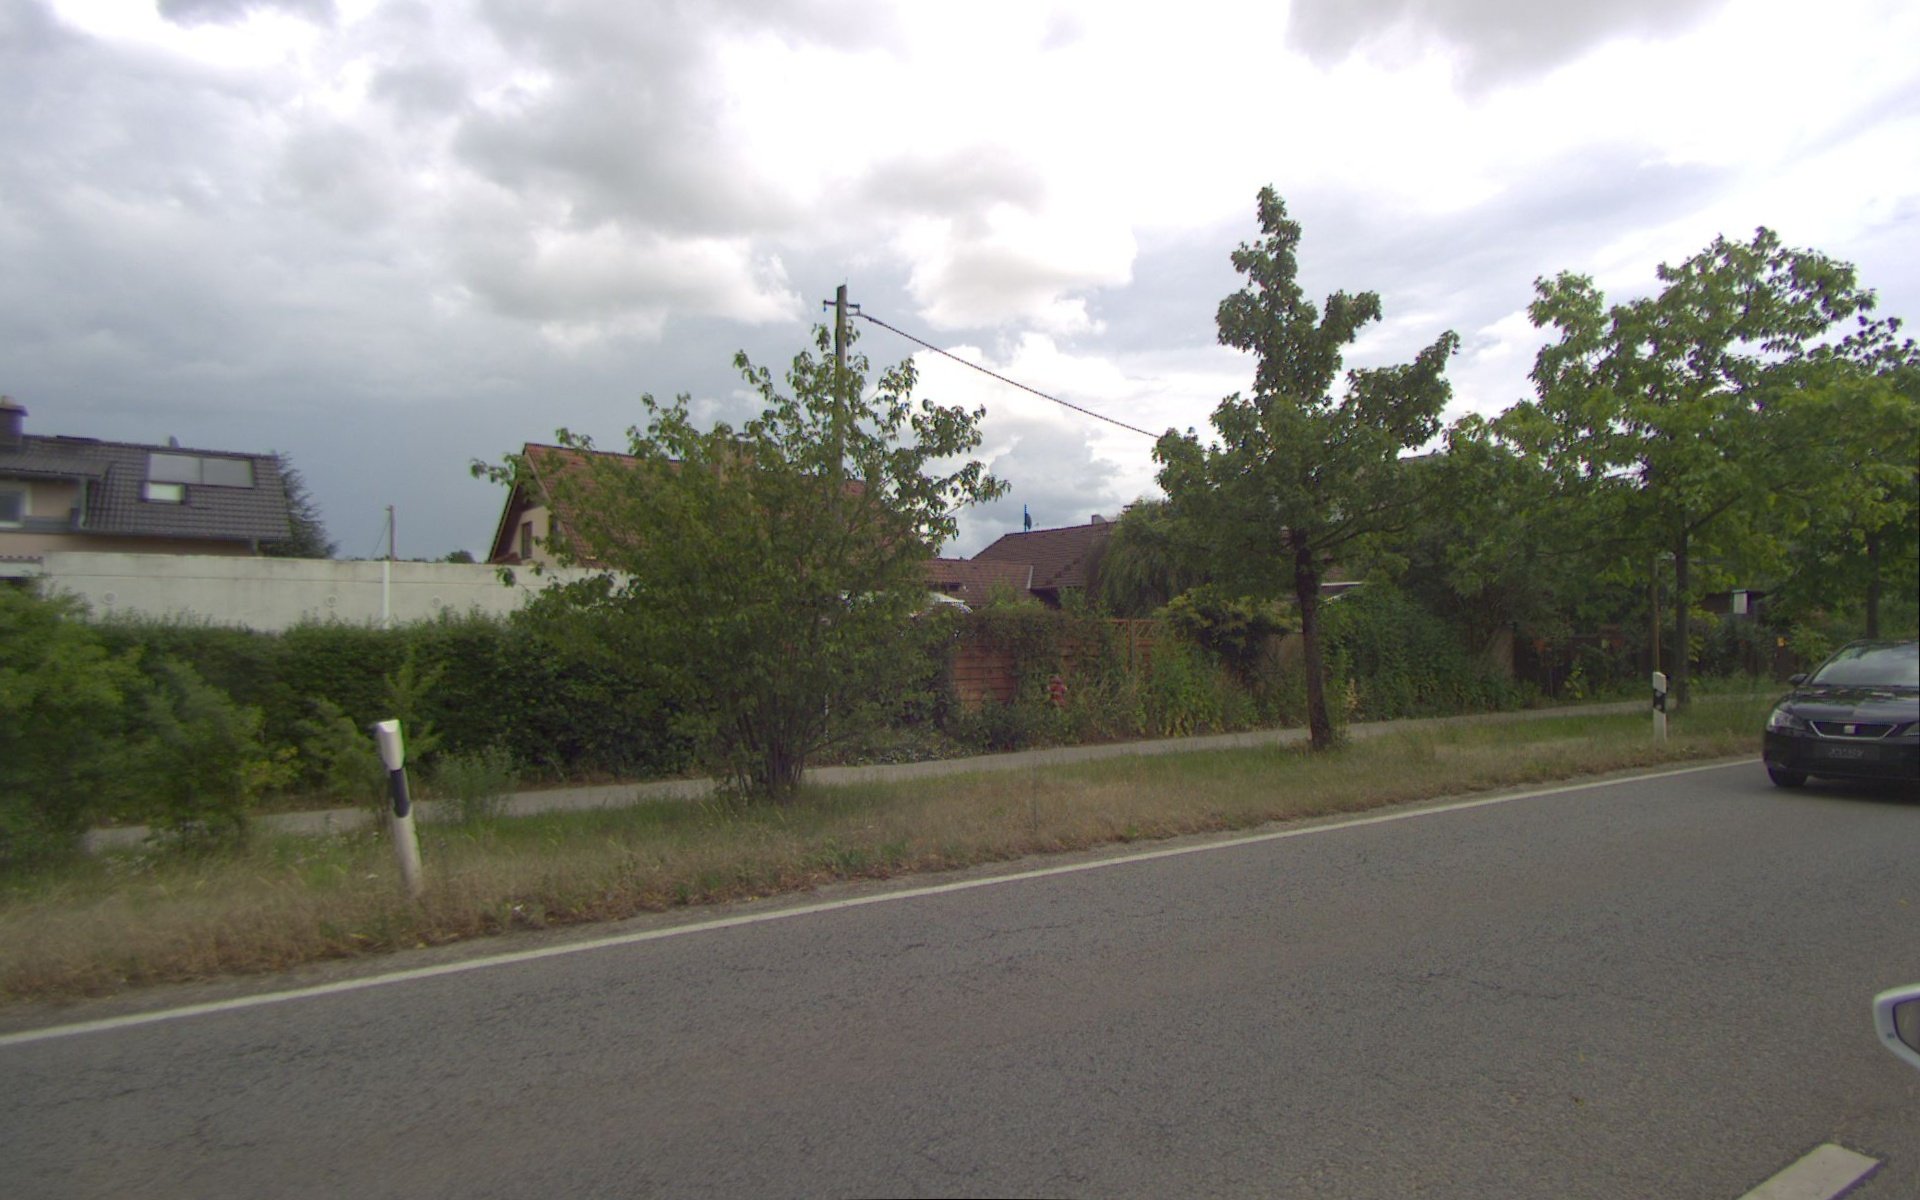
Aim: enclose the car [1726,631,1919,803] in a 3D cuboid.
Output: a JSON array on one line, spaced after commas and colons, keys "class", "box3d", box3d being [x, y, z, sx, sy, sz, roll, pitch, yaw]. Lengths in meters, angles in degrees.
[{"class": "car", "box3d": [9.408, 1.024, 9.791, 3.965, 1.430, 1.669, 1, -3, -30]}]
